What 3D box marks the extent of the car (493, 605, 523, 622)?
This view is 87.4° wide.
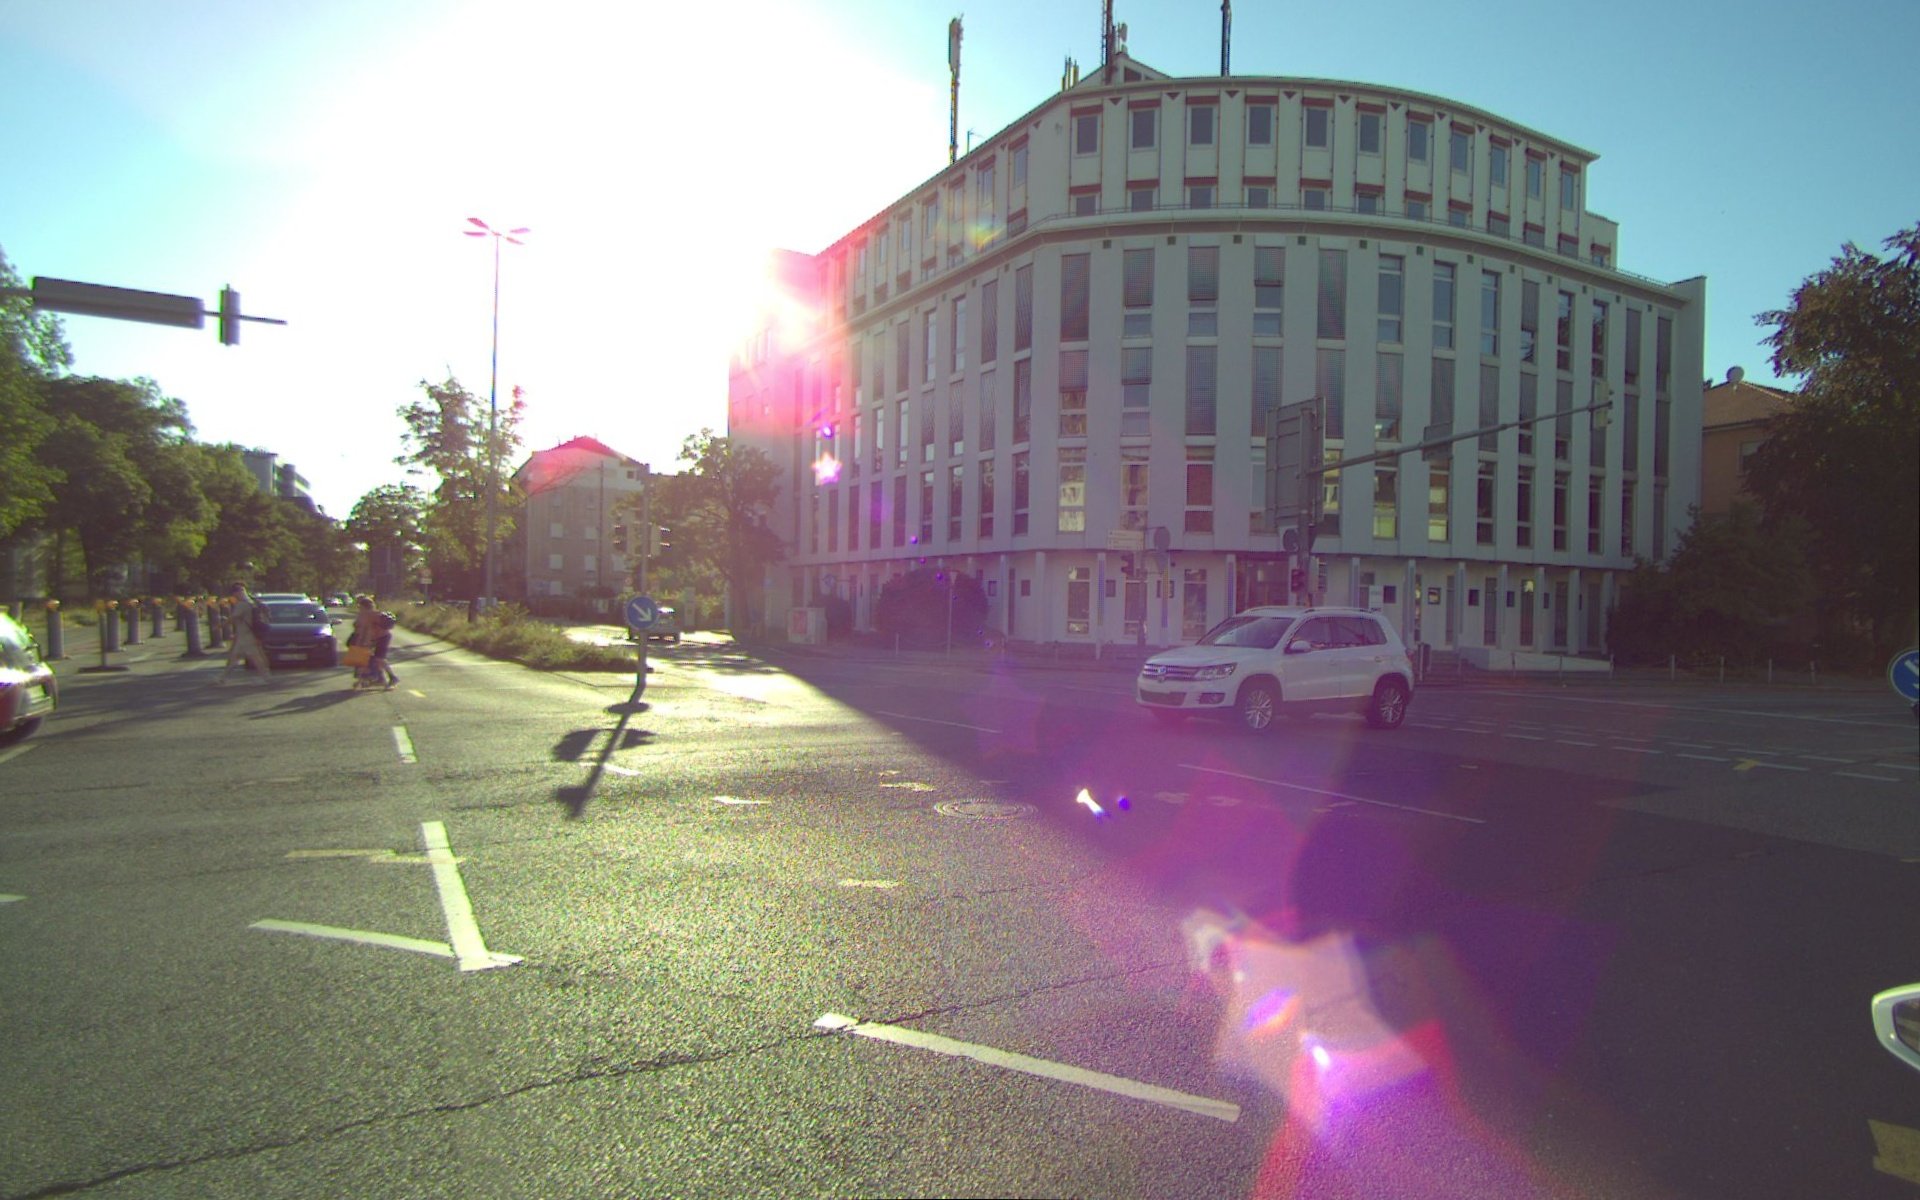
[{"bbox_3d":[-41.838,1.207,92.915,1.978,1.506,3.965,1,-1,-32],"label":"car"}]

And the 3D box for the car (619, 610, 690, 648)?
[{"bbox_3d":[-15.267,1.434,50.091,1.984,1.751,3.954,1,-1,-40],"label":"car"}]

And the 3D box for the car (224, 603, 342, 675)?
[{"bbox_3d":[-15.221,0.824,22.762,1.977,1.465,3.617,1,-1,-31],"label":"car"}]

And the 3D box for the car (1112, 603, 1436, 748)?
[{"bbox_3d":[4.418,0.955,13.947,4.389,1.729,1.819,1,0,-30],"label":"car"}]

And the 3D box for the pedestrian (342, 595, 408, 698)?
[{"bbox_3d":[-9.756,0.759,16.743,0.881,1.672,0.615,1,0,-36],"label":"pedestrian"}]

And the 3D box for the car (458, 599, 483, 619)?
[{"bbox_3d":[-52.597,0.943,107.834,1.978,2.040,3.965,1,0,-32],"label":"car"}]

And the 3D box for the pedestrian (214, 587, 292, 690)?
[{"bbox_3d":[-12.323,0.656,17.524,1.074,1.731,0.671,1,0,-36],"label":"pedestrian"}]

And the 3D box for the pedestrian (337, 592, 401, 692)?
[{"bbox_3d":[-10.190,0.714,17.306,0.874,1.672,0.671,1,0,-36],"label":"pedestrian"}]

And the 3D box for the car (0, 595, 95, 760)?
[{"bbox_3d":[-10.556,0.672,9.130,3.766,1.497,1.700,1,0,-29],"label":"car"}]

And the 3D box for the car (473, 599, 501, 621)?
[{"bbox_3d":[-46.740,0.977,99.258,1.978,2.040,3.965,1,0,-32],"label":"car"}]

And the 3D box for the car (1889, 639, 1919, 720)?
[{"bbox_3d":[19.656,1.512,19.034,3.852,1.480,1.821,1,0,-28],"label":"car"}]

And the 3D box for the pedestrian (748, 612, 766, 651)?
[{"bbox_3d":[-9.582,1.465,47.437,0.692,1.814,0.477,1,0,-38],"label":"pedestrian"}]

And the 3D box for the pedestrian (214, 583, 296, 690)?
[{"bbox_3d":[-12.774,0.642,18.216,1.159,1.873,0.812,1,0,-36],"label":"pedestrian"}]

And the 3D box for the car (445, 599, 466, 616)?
[{"bbox_3d":[-62.919,0.902,125.161,1.978,2.040,3.965,1,0,-32],"label":"car"}]
